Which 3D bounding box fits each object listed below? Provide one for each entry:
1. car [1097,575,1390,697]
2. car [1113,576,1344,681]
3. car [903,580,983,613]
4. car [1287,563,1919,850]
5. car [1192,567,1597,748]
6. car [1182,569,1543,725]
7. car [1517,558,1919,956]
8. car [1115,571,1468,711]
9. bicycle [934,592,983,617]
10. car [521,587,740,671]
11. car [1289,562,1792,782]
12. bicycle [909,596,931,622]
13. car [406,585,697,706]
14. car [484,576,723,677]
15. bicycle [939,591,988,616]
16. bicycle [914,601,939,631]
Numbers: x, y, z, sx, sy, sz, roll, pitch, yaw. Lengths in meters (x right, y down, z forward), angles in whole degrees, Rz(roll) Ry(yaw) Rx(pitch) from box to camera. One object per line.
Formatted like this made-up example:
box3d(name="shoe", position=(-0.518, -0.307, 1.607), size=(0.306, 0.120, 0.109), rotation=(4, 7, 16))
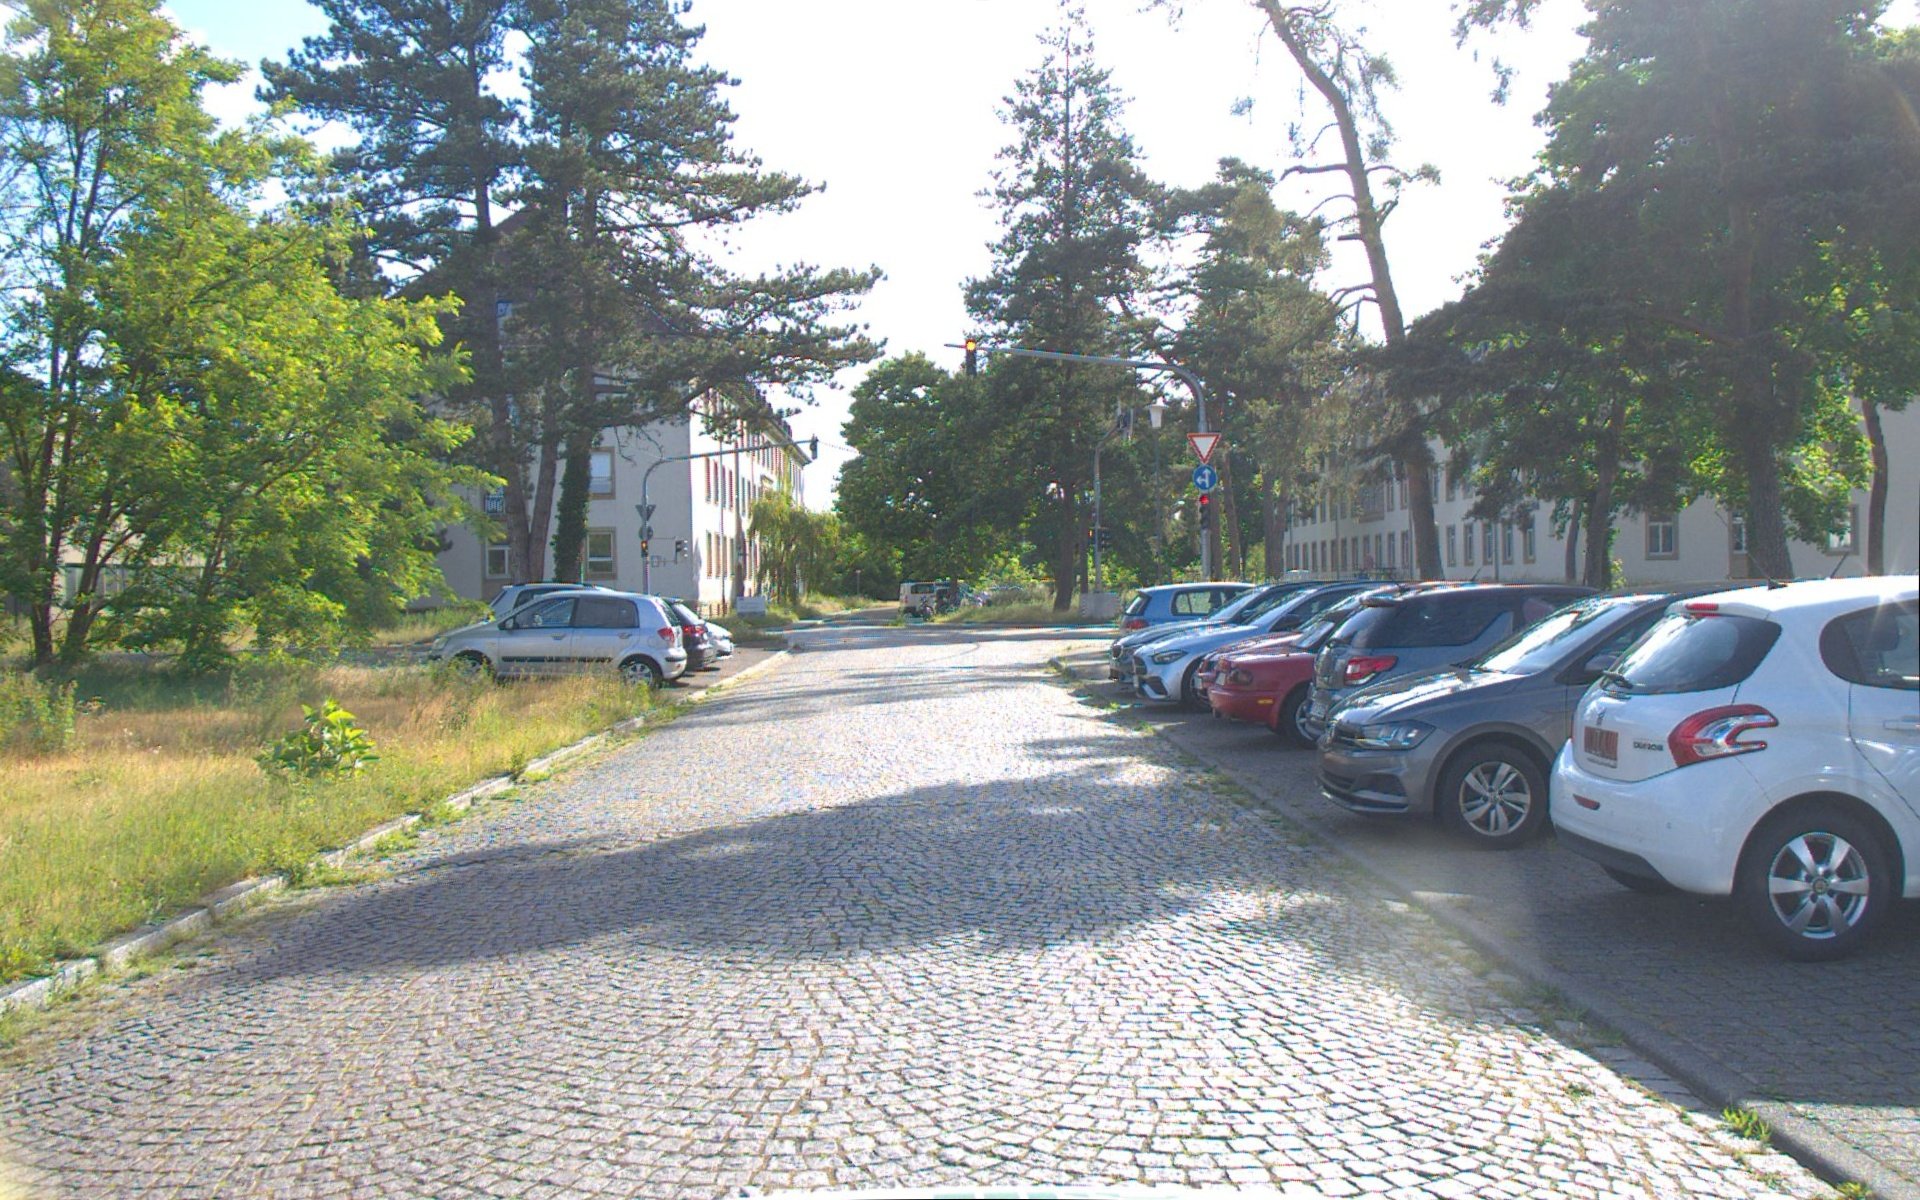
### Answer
box3d(name="car", position=(3.909, 0.473, 23.178), size=(3.759, 1.556, 1.644), rotation=(-1, 0, -3))
box3d(name="car", position=(4.143, 0.422, 25.825), size=(3.277, 1.508, 1.645), rotation=(-1, 0, -3))
box3d(name="car", position=(-0.987, -0.212, 92.161), size=(4.390, 1.758, 1.999), rotation=(-1, 0, -2))
box3d(name="car", position=(4.030, 0.591, 10.258), size=(3.602, 1.492, 1.644), rotation=(-2, 0, -3))
box3d(name="car", position=(4.079, 0.508, 15.870), size=(3.408, 1.556, 1.644), rotation=(-1, 0, -3))
box3d(name="car", position=(4.360, 0.482, 18.236), size=(3.531, 1.556, 1.644), rotation=(-1, 0, -3))
box3d(name="car", position=(4.604, 0.554, 7.385), size=(3.619, 1.491, 1.645), rotation=(-3, 0, -1))
box3d(name="car", position=(4.025, 0.471, 20.409), size=(3.956, 1.556, 1.644), rotation=(-1, 0, -5))
box3d(name="bicycle", position=(-0.075, 0.198, 74.712), size=(2.134, 1.119, 0.805), rotation=(-1, 0, -11))
box3d(name="car", position=(-6.410, 0.541, 32.559), size=(3.907, 1.478, 1.999), rotation=(2, 0, -2))
box3d(name="car", position=(4.516, 0.524, 13.190), size=(3.408, 1.556, 1.644), rotation=(-1, 0, -3))
box3d(name="bicycle", position=(-1.825, 0.407, 74.712), size=(0.789, 1.119, 2.177), rotation=(-1, 0, -7))
box3d(name="car", position=(-6.017, 0.641, 24.778), size=(3.908, 1.628, 1.998), rotation=(-1, 0, -4))
box3d(name="car", position=(-6.423, 0.458, 30.157), size=(3.907, 1.629, 1.999), rotation=(2, 0, -2))
box3d(name="bicycle", position=(0.164, 0.157, 75.856), size=(2.134, 1.119, 0.805), rotation=(-1, 0, -11))
box3d(name="bicycle", position=(-1.457, 0.680, 71.215), size=(0.789, 1.190, 2.177), rotation=(-3, 1, -7))
